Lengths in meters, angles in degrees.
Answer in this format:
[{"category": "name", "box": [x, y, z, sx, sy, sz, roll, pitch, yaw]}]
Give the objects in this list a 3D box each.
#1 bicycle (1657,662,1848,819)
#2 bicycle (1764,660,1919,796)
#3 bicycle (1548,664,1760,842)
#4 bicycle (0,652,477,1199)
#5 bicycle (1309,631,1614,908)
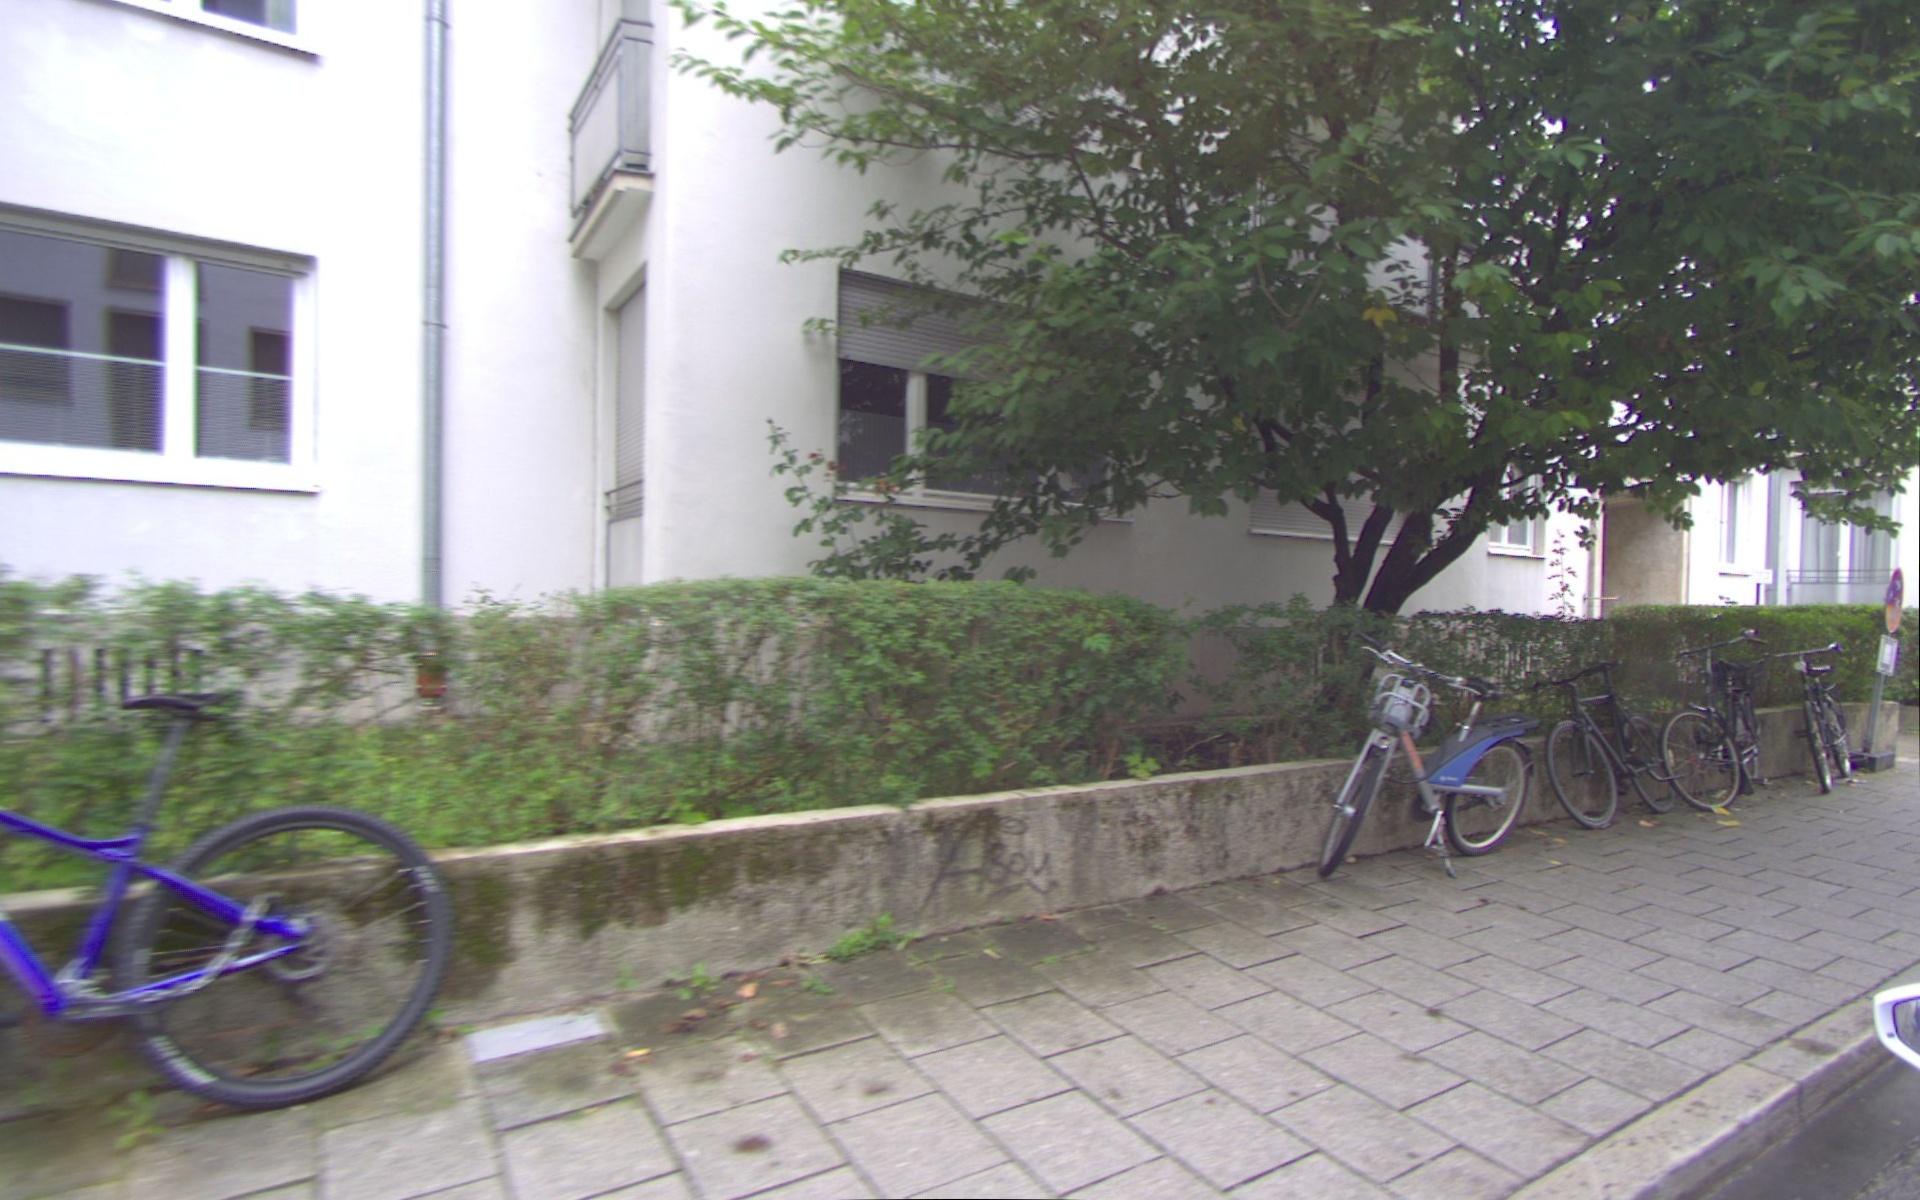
[{"category": "bicycle", "box": [5.796, 0.973, 7.314, 1.833, 0.991, 0.441, 2, 3, -32]}, {"category": "bicycle", "box": [7.345, 1.022, 8.317, 1.796, 0.991, 0.441, 2, 3, -32]}, {"category": "bicycle", "box": [4.500, 0.935, 6.475, 1.680, 0.991, 0.433, 2, 3, -32]}, {"category": "bicycle", "box": [-2.052, 0.682, 2.179, 1.761, 1.086, 0.344, 1, 4, -34]}, {"category": "bicycle", "box": [2.538, 0.776, 5.018, 1.680, 1.167, 0.485, 2, 3, -32]}]
